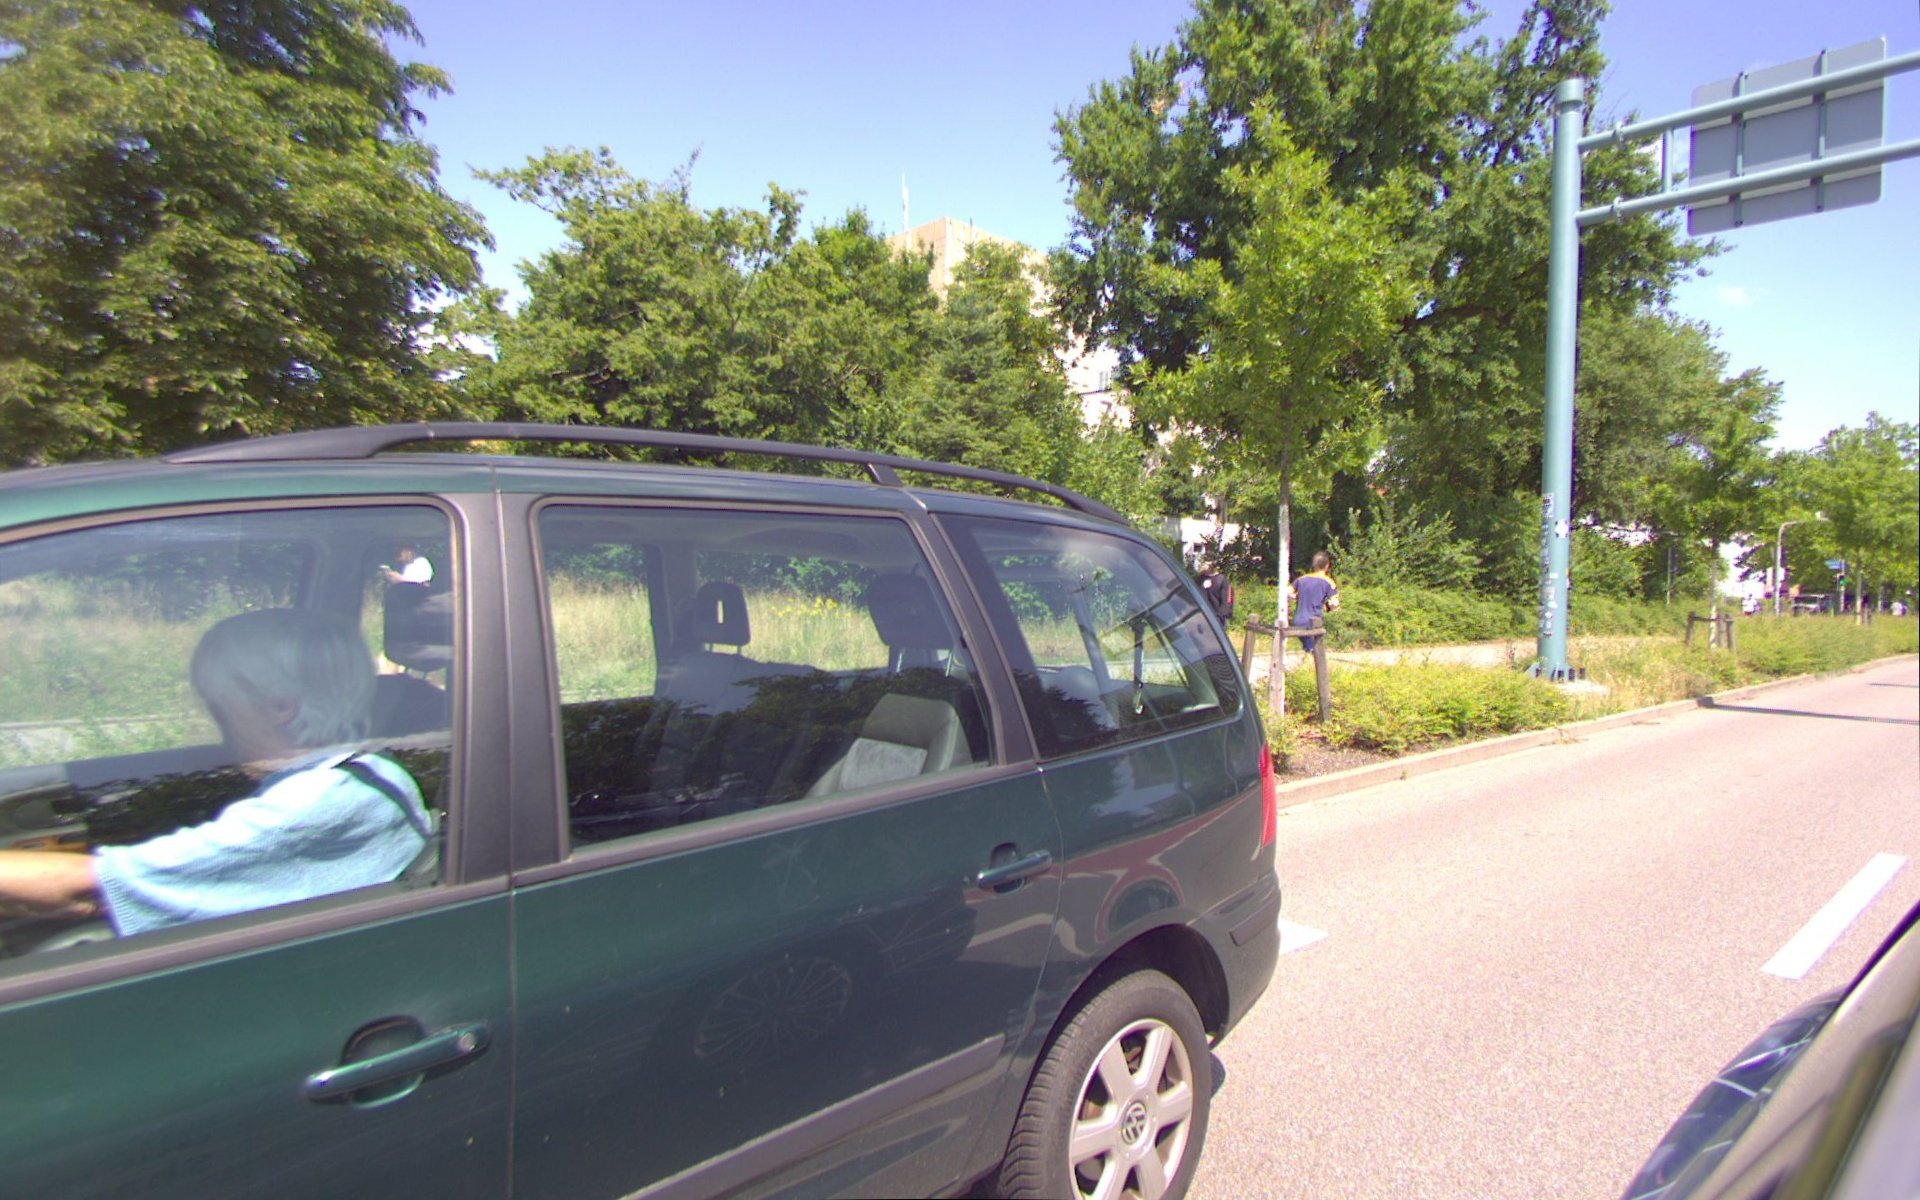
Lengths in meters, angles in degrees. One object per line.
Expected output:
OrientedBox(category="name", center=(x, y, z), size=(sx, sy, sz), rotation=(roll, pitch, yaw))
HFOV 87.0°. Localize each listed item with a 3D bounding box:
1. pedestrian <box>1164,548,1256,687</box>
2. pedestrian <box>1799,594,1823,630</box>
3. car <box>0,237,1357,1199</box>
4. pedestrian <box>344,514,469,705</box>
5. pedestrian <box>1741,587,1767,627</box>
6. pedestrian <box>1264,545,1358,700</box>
OrientedBox(category="pedestrian", center=(3.169, 0.208, 12.866), size=(0.799, 1.705, 0.762), rotation=(1, 1, -29))
OrientedBox(category="pedestrian", center=(39.407, 0.554, 46.878), size=(0.752, 1.630, 0.765), rotation=(1, 1, -45))
OrientedBox(category="car", center=(-1.145, 0.525, 1.970), size=(4.315, 1.737, 1.804), rotation=(0, -1, -41))
OrientedBox(category="pedestrian", center=(-4.874, 0.071, 8.908), size=(0.802, 1.576, 0.760), rotation=(1, 1, -41))
OrientedBox(category="pedestrian", center=(41.877, 0.372, 53.391), size=(0.836, 2.063, 0.895), rotation=(1, 0, 23))
OrientedBox(category="pedestrian", center=(4.196, 0.253, 12.115), size=(0.869, 1.787, 0.640), rotation=(1, 1, -35))
